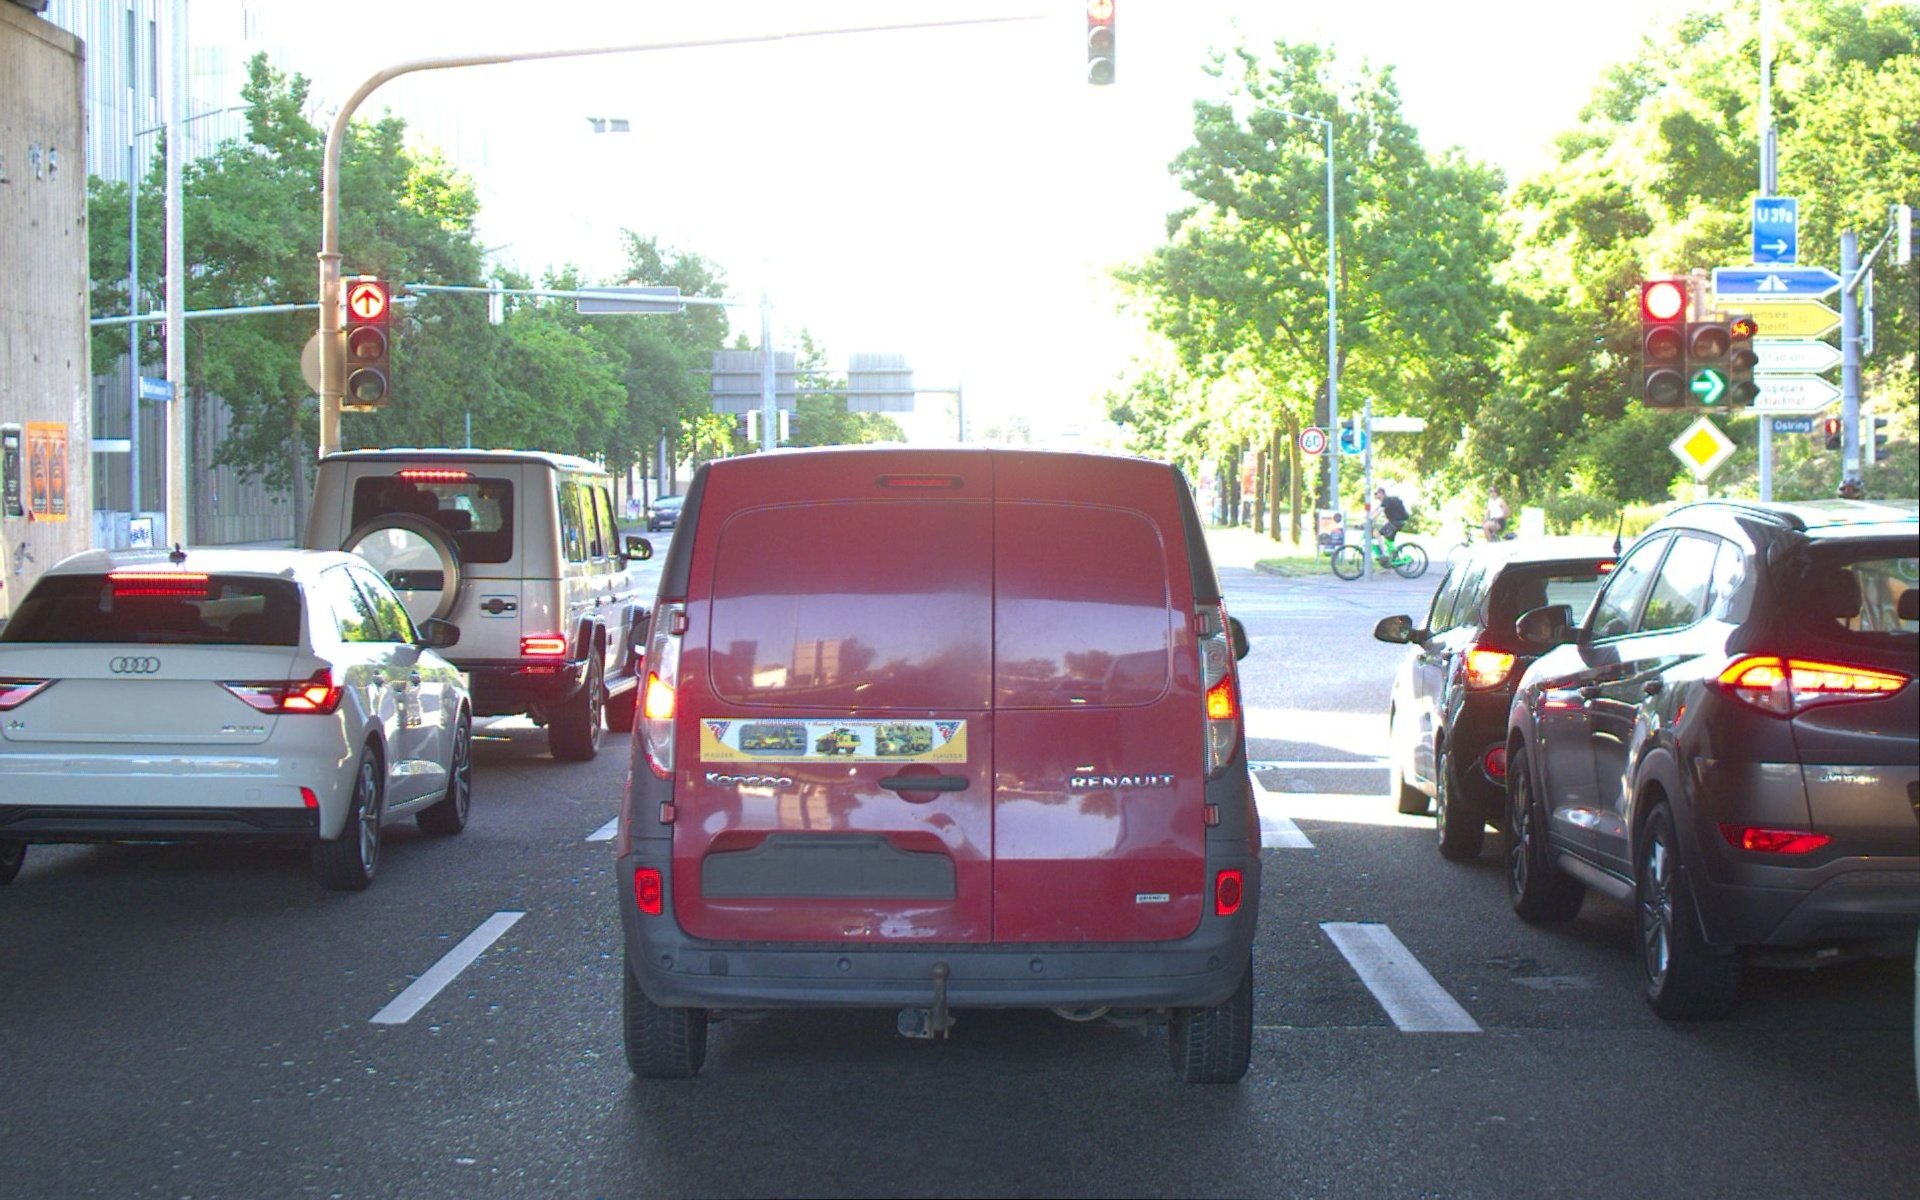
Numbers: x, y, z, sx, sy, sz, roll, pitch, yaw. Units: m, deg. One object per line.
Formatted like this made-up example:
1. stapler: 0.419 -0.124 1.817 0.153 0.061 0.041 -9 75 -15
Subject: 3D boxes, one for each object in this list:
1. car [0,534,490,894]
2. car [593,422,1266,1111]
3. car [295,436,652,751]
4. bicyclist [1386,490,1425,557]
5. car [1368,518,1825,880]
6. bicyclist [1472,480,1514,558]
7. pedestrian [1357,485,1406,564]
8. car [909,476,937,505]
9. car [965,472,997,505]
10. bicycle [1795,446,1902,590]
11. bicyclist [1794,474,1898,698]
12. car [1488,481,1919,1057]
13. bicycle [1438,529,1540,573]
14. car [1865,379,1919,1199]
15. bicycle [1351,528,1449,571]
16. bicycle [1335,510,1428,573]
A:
1. car: -3.258 0.419 15.563 1.692 1.405 3.813 1 1 0
2. car: -0.053 0.397 10.908 1.719 1.758 4.000 1 1 1
3. car: -3.146 -0.072 22.931 1.813 1.897 3.813 1 1 0
4. bicyclist: 9.043 -1.552 69.803 0.652 1.325 0.603 1 0 -2
5. car: 3.061 0.395 17.240 1.652 1.546 3.864 1 2 2
6. bicyclist: 10.578 -1.601 68.230 0.755 1.537 0.696 0 1 4
7. pedestrian: 8.284 -1.480 67.583 0.836 1.549 0.557 0 1 -5
8. car: -2.773 -8.190 257.013 1.993 2.007 4.000 1 0 1
9. car: 1.403 -7.296 224.796 1.993 2.007 4.000 1 0 1
10. bicycle: 6.584 -0.595 25.525 0.677 1.020 1.528 1 0 12
11. bicyclist: 6.574 -0.107 25.531 0.677 1.623 0.643 1 0 12
12. car: 3.064 0.458 11.912 1.778 1.650 3.991 1 1 -1
13. bicycle: 10.488 -0.968 68.241 1.953 0.871 0.699 0 1 4
14. car: 2.835 0.521 5.026 1.813 1.827 4.301 1 1 -1
15. bicycle: 8.926 -1.029 69.775 1.913 0.864 0.605 0 1 -2
16. bicycle: 8.281 -1.157 67.592 1.729 1.229 0.558 0 0 -5
